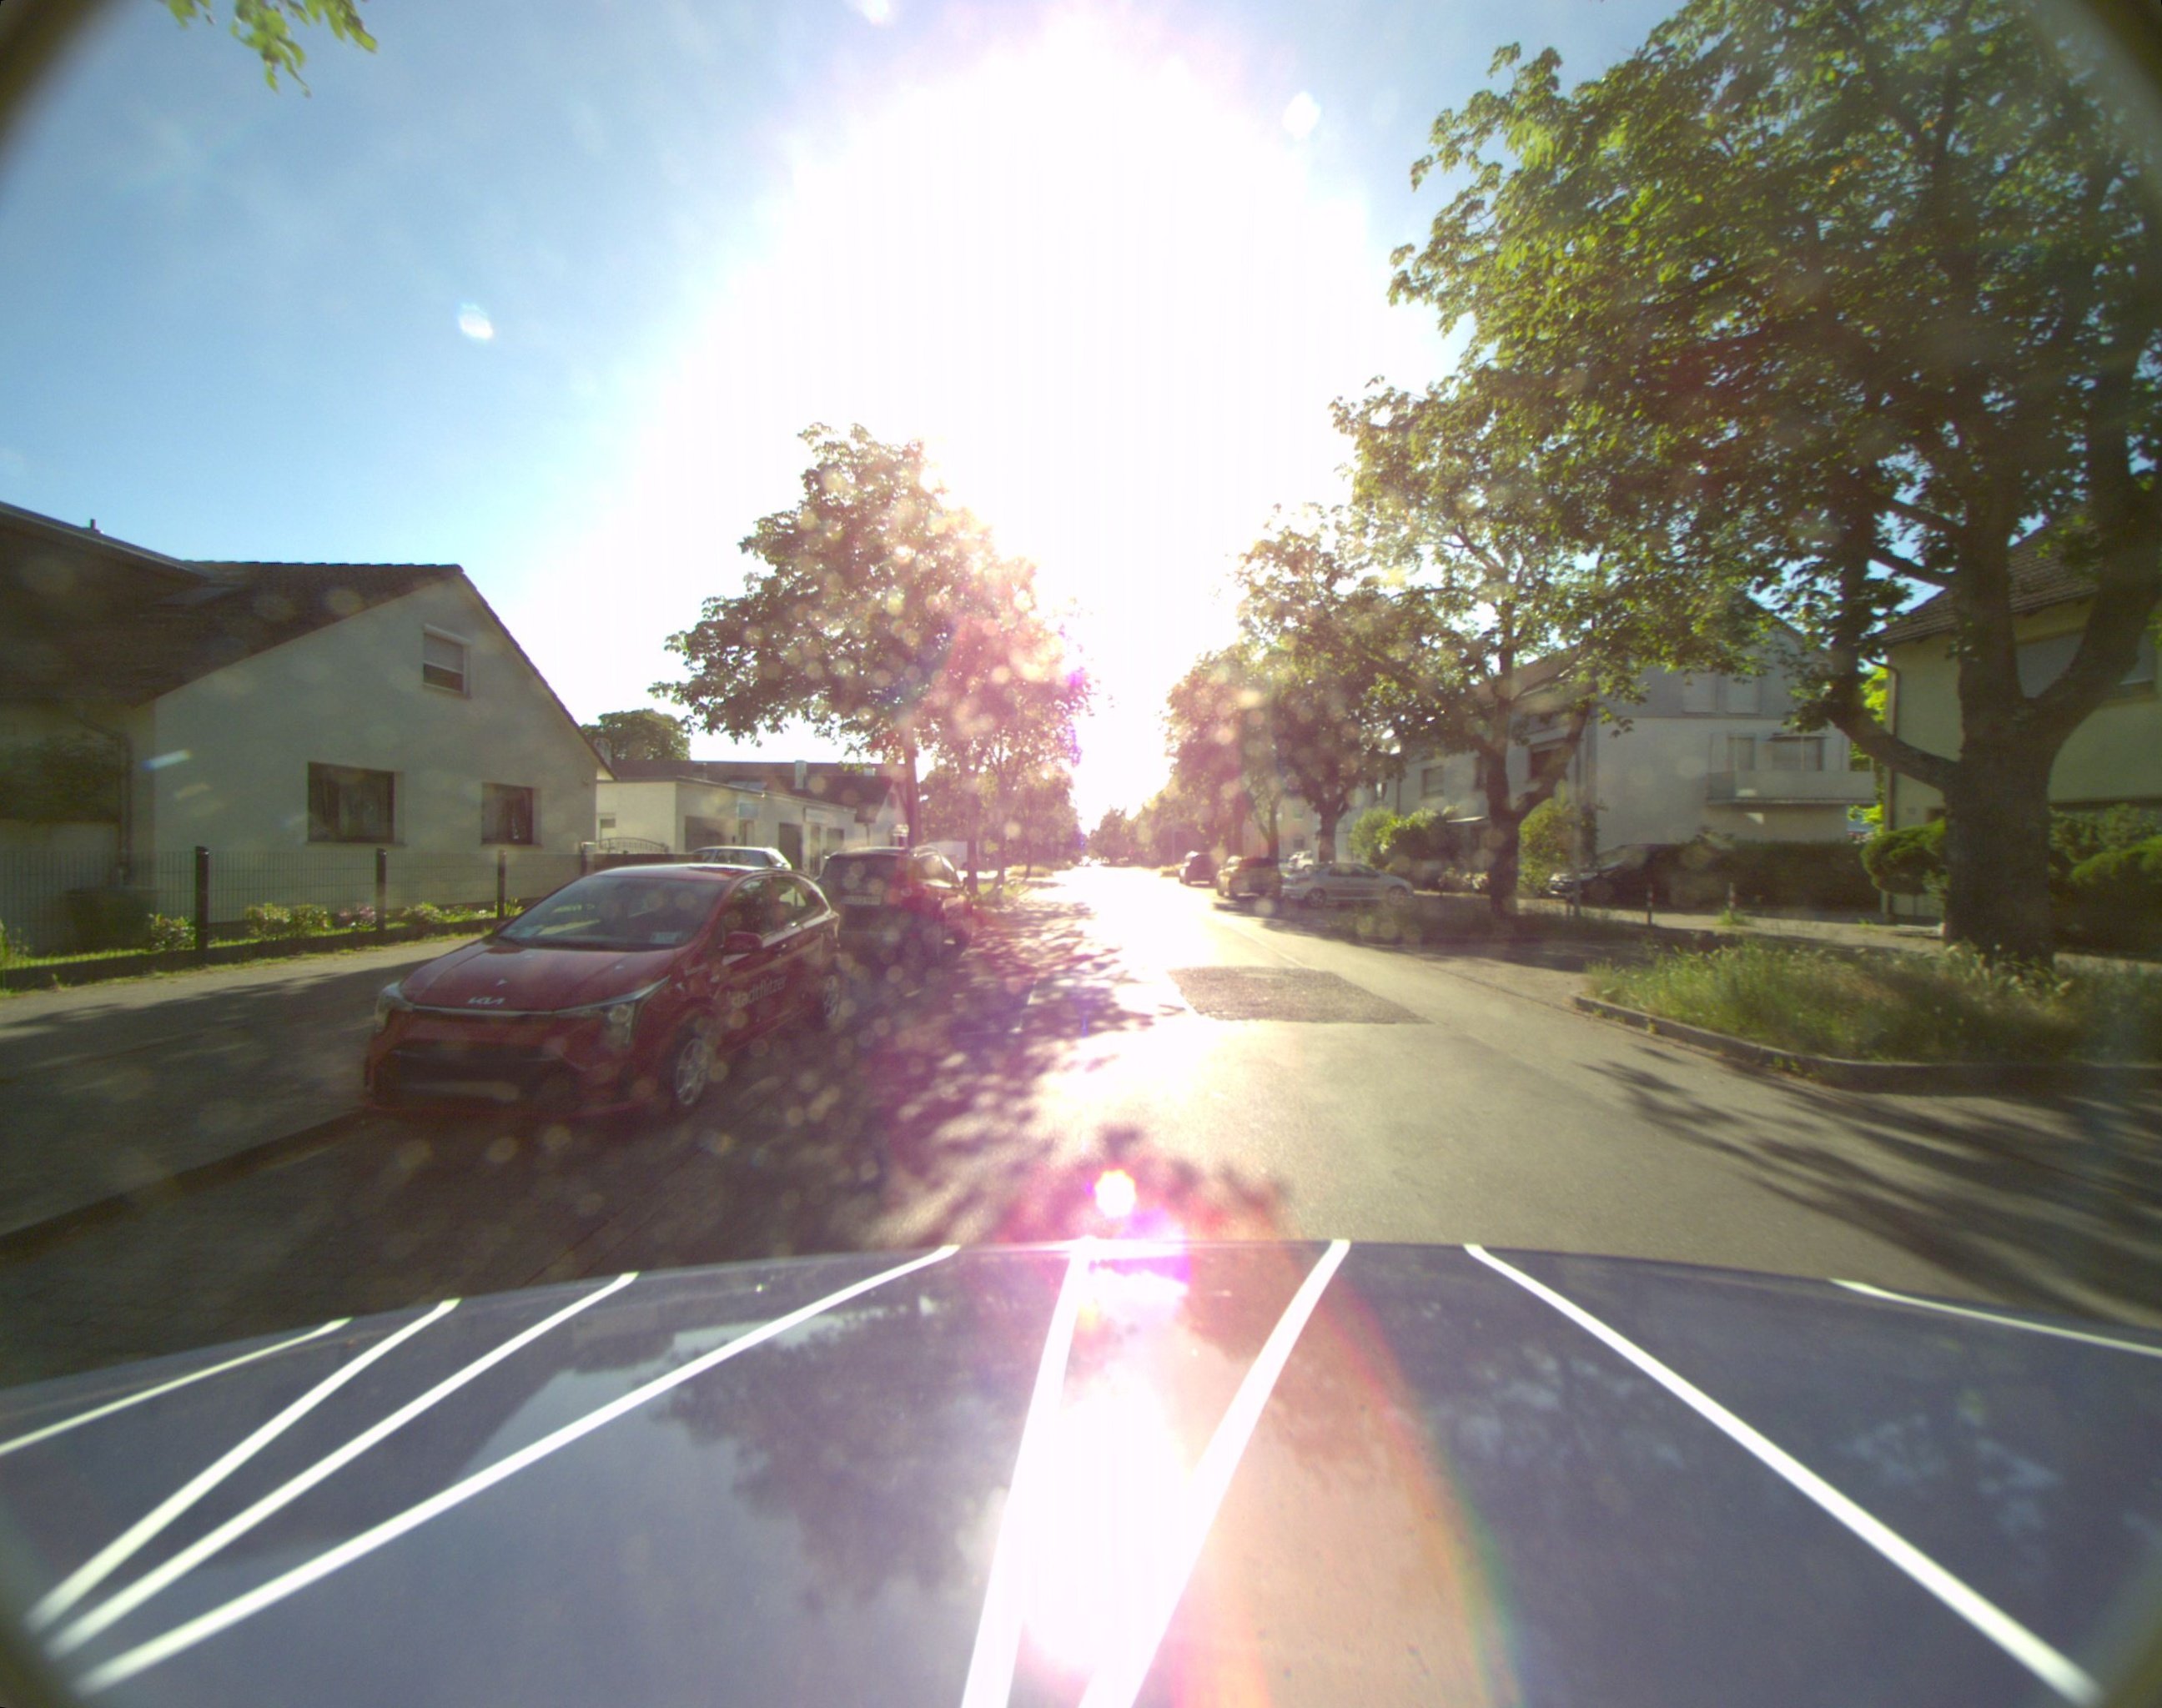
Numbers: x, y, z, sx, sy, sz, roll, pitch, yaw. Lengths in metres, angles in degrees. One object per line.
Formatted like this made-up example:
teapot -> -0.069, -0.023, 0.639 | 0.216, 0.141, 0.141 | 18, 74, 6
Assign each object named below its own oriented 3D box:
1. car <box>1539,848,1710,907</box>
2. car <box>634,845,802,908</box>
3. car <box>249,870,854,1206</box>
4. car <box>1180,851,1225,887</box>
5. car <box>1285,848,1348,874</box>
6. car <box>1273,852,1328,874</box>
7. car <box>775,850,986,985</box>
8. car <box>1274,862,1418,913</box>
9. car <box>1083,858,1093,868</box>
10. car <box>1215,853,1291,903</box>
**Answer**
car -> 16.056, 0.668, 22.593 | 3.773, 1.557, 1.691 | 2, 1, 4
car -> -9.646, 0.558, 20.400 | 3.621, 1.431, 1.695 | -3, 1, -3
car -> -3.115, 0.926, 5.536 | 1.690, 1.414, 3.777 | 2, 1, 1
car -> 6.137, 0.699, 38.877 | 1.815, 1.722, 4.056 | 0, 0, 2
car -> 17.507, 0.525, 56.677 | 3.997, 1.674, 1.999 | -3, 1, 0
car -> 18.561, 0.742, 64.370 | 3.997, 1.674, 1.999 | -3, 1, 0
car -> -2.814, 0.795, 11.808 | 1.941, 1.684, 4.362 | 0, 1, 2
car -> 7.855, 0.956, 22.699 | 3.695, 1.315, 1.624 | -2, 1, -5
car -> 1.244, 1.497, 127.763 | 1.539, 1.582, 3.458 | -3, 1, 3
car -> 6.137, 0.813, 27.562 | 1.998, 1.530, 3.695 | -3, 1, 3
